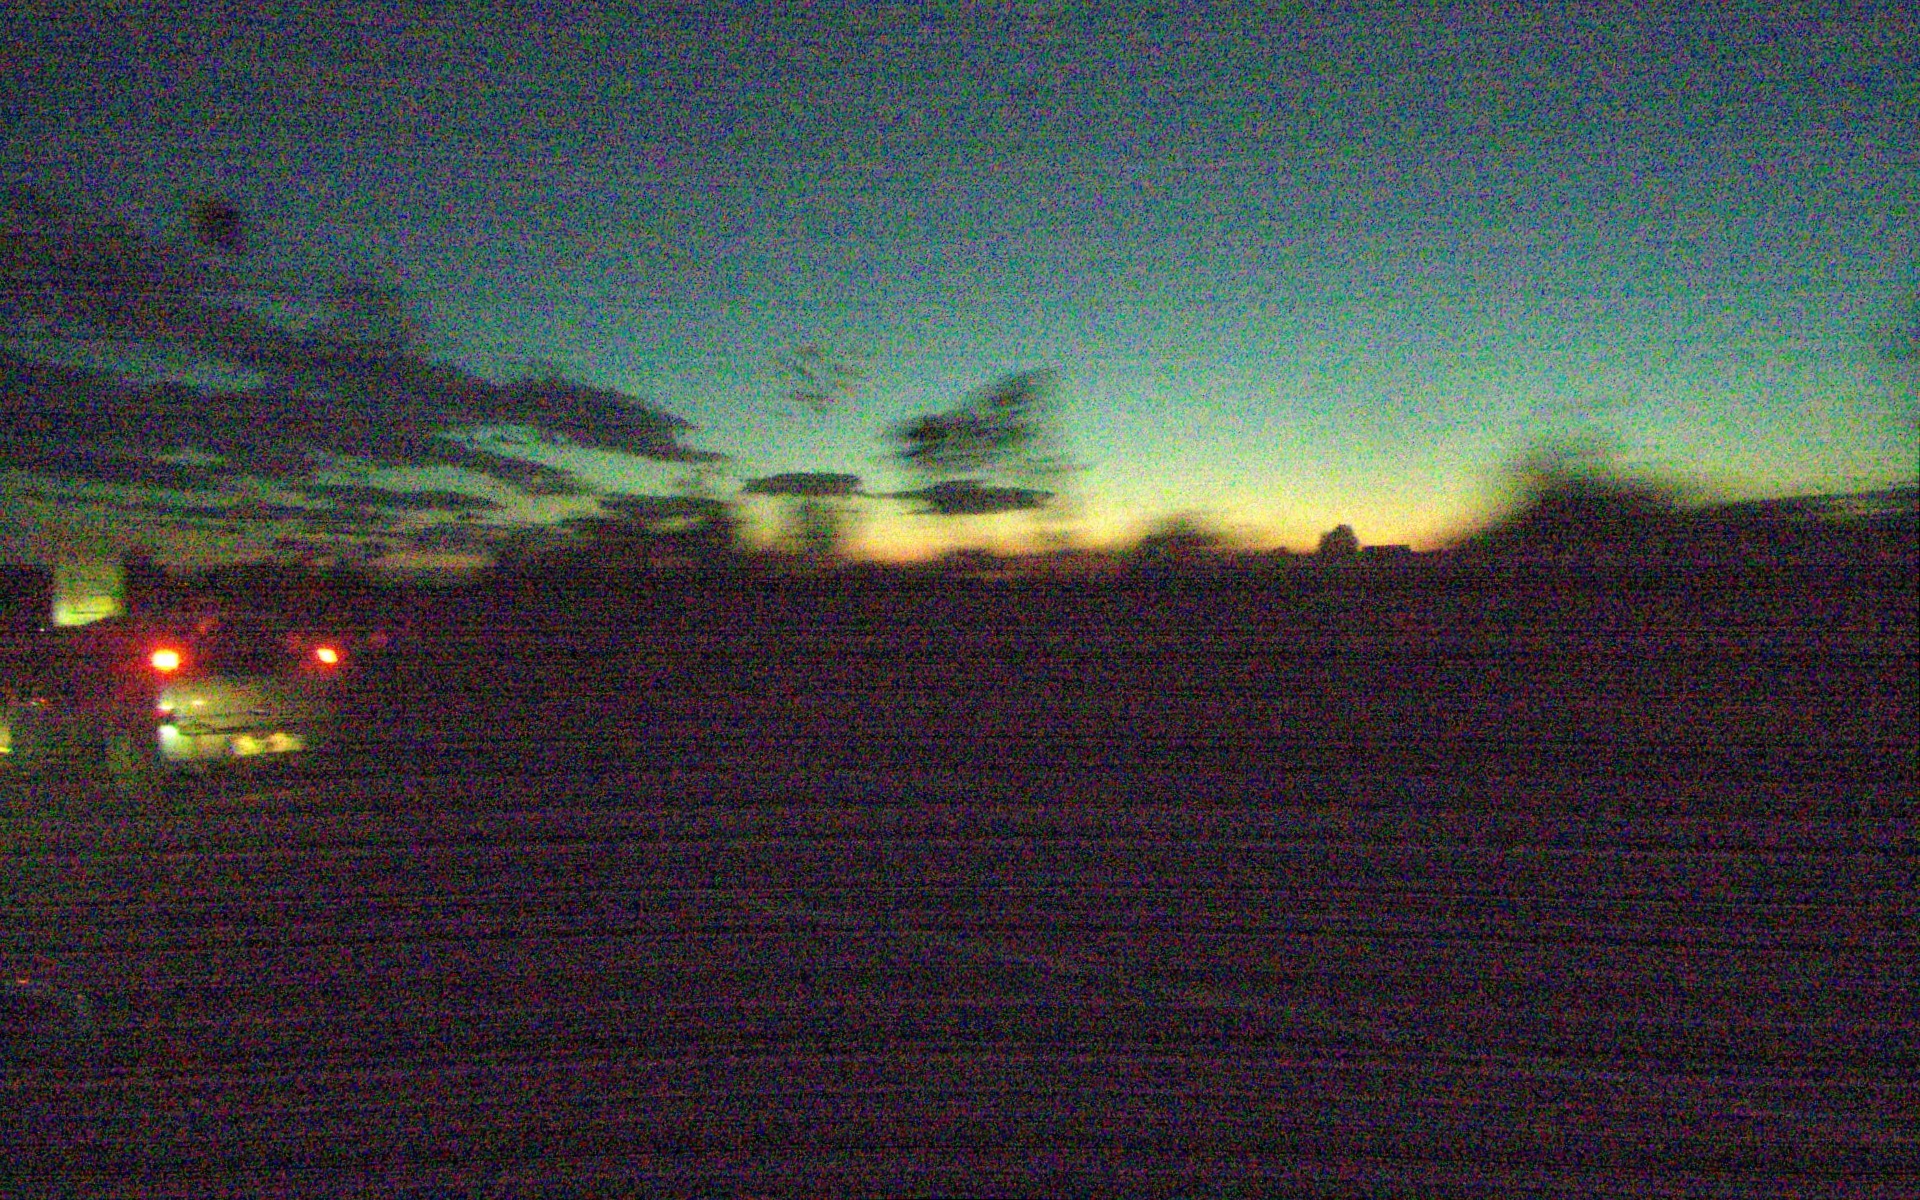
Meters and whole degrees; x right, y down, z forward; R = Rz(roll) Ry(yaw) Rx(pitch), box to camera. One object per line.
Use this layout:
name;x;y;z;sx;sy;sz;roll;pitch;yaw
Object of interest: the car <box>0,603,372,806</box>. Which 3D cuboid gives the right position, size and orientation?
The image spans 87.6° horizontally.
car;-7.805;0.882;9.898;4.446;1.617;1.643;-1;-1;33
